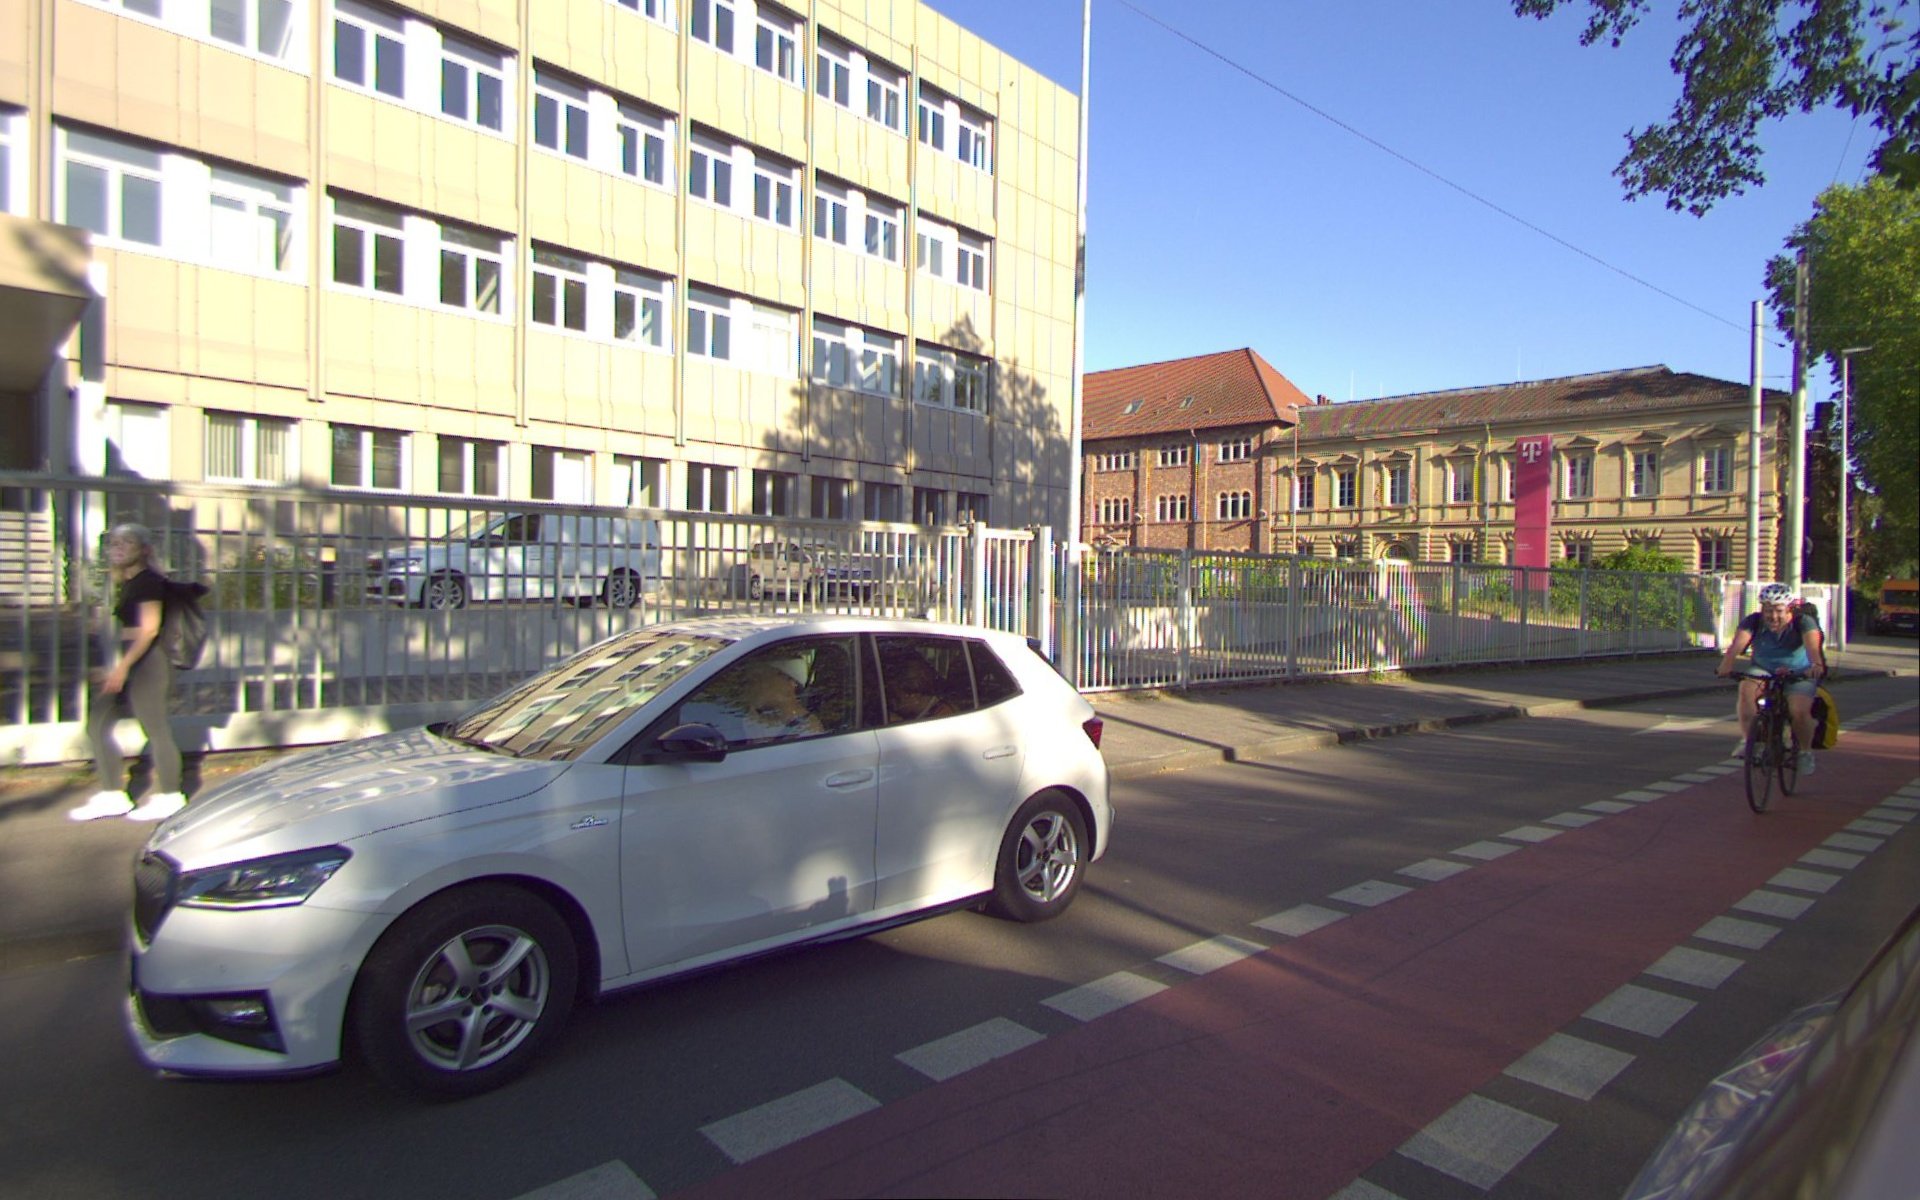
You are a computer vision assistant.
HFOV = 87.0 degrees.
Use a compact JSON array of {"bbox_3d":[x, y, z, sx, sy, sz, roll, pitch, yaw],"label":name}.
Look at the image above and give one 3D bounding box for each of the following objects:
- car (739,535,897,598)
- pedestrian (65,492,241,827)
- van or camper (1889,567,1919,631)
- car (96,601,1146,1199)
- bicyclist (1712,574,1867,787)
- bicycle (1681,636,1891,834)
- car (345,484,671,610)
[{"bbox_3d":[-4.017,-0.927,28.085,4.563,1.601,1.968,2,2,44],"label":"car"},{"bbox_3d":[-4.658,0.308,5.852,0.757,1.784,0.592,0,1,-41],"label":"pedestrian"},{"bbox_3d":[41.141,-0.058,43.240,1.994,2.626,5.537,0,0,44],"label":"van or camper"},{"bbox_3d":[-1.102,0.725,4.401,4.005,1.406,1.703,0,0,-42],"label":"car"},{"bbox_3d":[6.061,0.536,7.394,0.844,1.440,0.727,0,0,-40],"label":"bicyclist"},{"bbox_3d":[6.112,0.891,7.432,2.266,1.158,0.764,0,1,-40],"label":"bicycle"},{"bbox_3d":[-7.587,-0.825,17.330,1.994,1.865,4.709,2,2,44],"label":"car"}]
